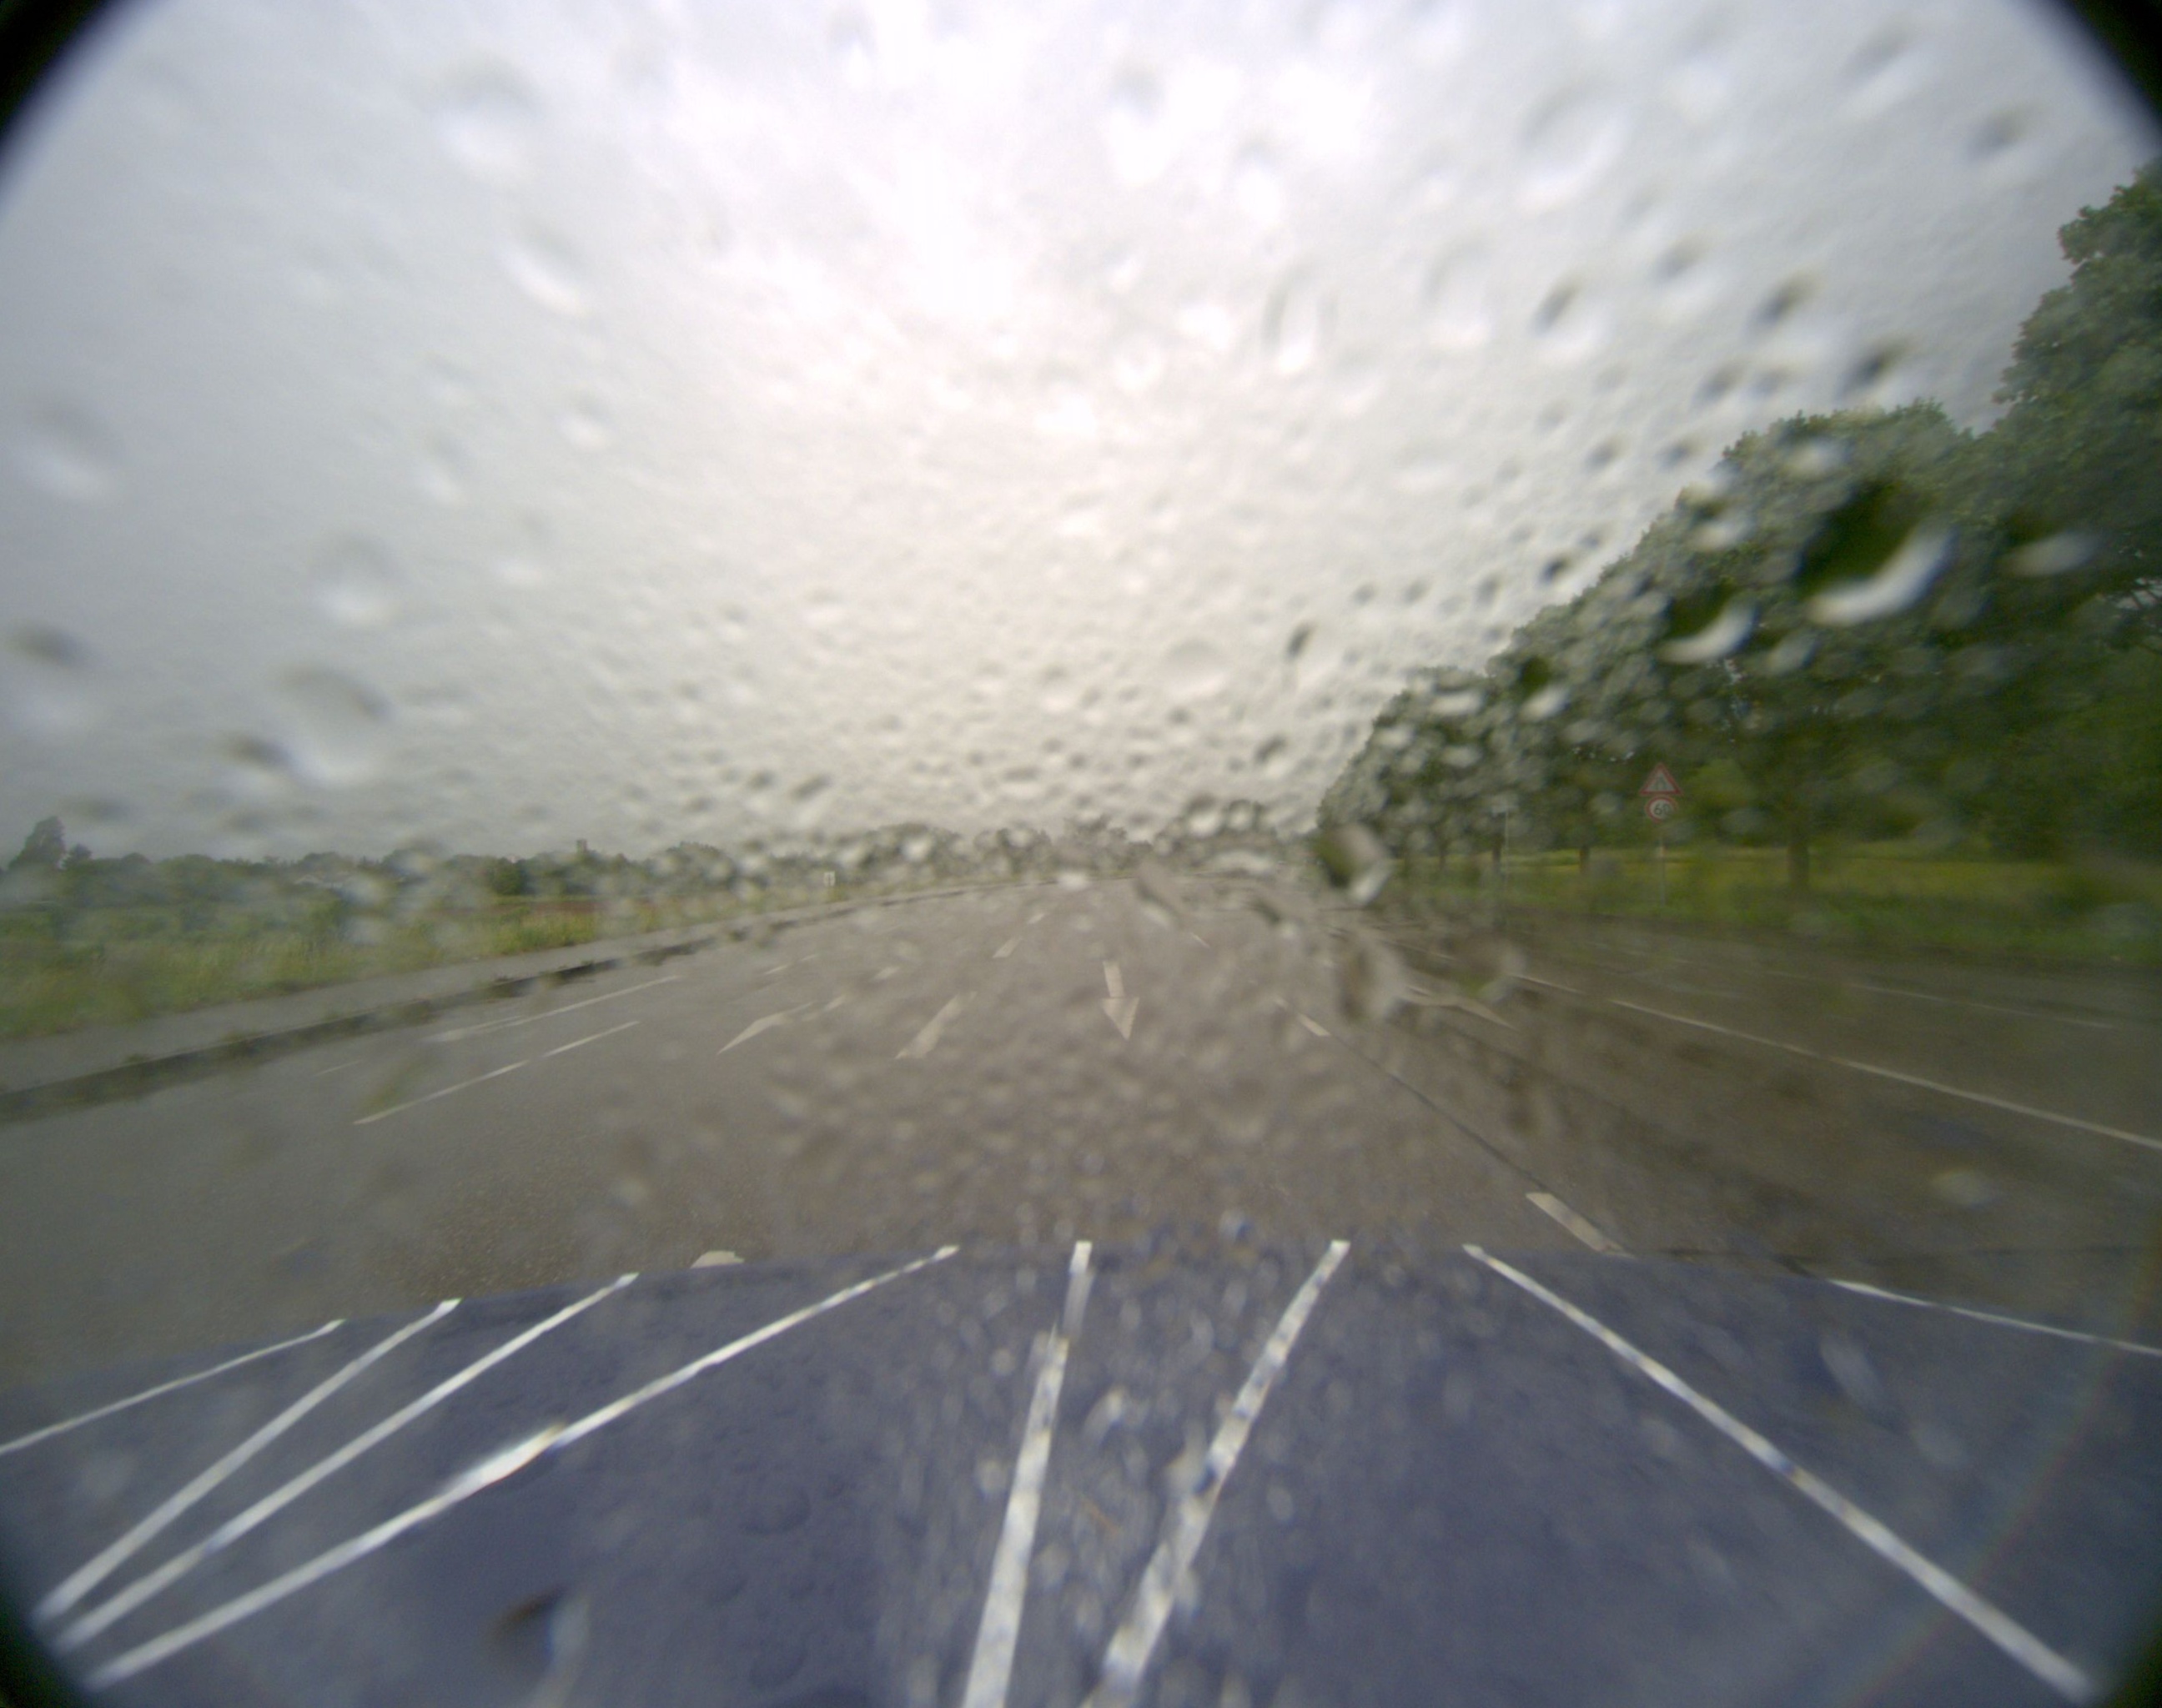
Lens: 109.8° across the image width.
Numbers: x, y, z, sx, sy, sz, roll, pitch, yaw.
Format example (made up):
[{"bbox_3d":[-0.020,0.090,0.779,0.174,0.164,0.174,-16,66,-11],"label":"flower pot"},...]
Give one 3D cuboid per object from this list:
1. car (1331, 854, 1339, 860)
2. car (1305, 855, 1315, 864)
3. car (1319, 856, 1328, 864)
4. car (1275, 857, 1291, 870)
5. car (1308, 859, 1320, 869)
[{"bbox_3d":[67.824,0.813,202.746,1.926,1.733,4.294,0,0,18],"label":"car"},{"bbox_3d":[48.503,1.185,160.934,1.741,1.979,4.016,0,0,18],"label":"car"},{"bbox_3d":[49.015,1.211,153.801,1.741,1.478,4.016,0,0,18],"label":"car"},{"bbox_3d":[26.151,1.221,98.440,1.881,1.564,4.649,0,0,13],"label":"car"},{"bbox_3d":[42.826,1.785,139.842,1.886,1.578,4.124,-3,0,19],"label":"car"}]
